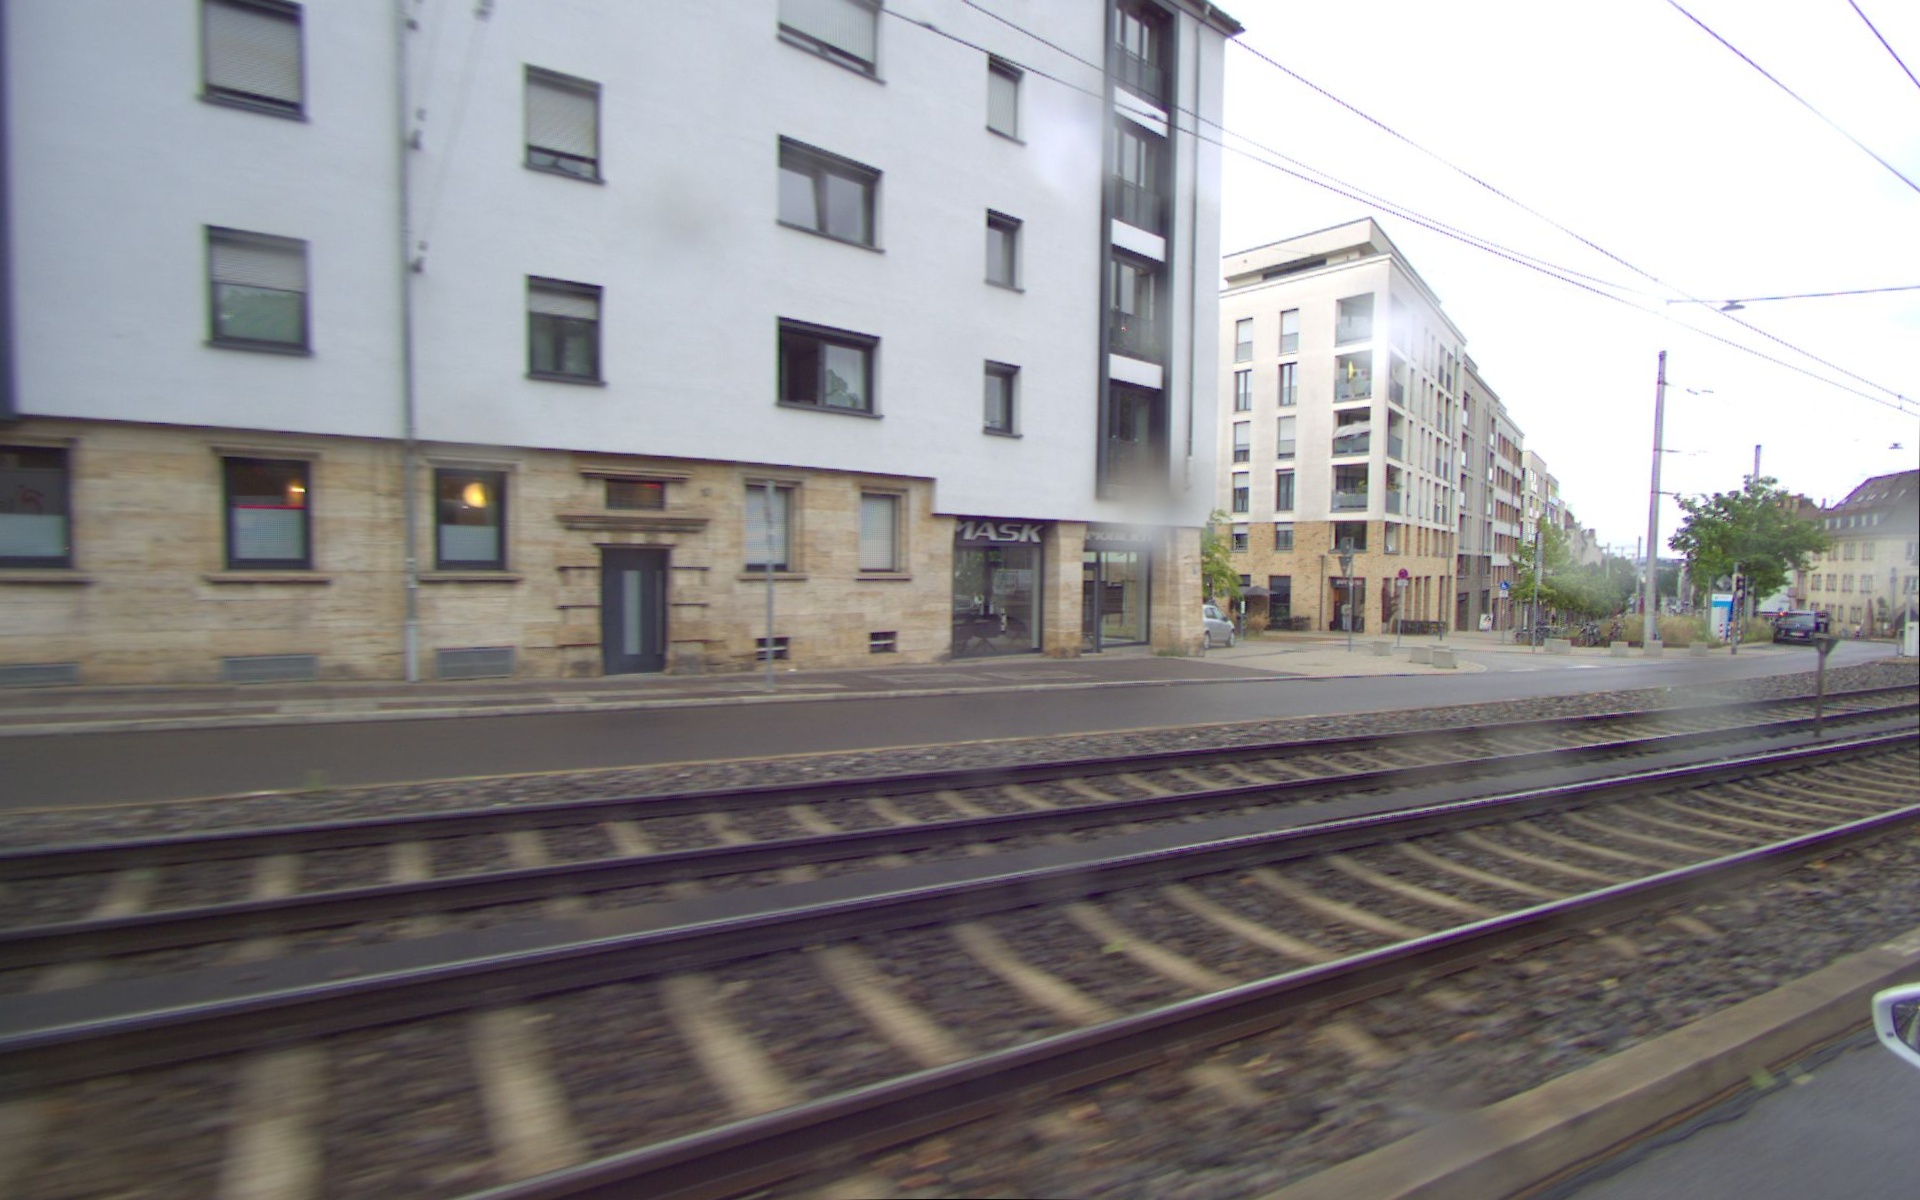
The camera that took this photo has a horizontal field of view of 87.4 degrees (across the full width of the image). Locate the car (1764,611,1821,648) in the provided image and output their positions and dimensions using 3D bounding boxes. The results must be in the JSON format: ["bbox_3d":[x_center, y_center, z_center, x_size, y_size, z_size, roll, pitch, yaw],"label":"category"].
[{"bbox_3d":[41.307,1.462,49.825,1.971,1.626,4.194,6,2,41],"label":"car"}]

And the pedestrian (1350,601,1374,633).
[{"bbox_3d":[21.724,0.906,54.276,0.890,1.674,0.837,1,0,-21],"label":"pedestrian"}]

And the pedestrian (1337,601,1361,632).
[{"bbox_3d":[20.843,0.893,53.852,0.891,1.674,0.837,1,-1,-22],"label":"pedestrian"}]

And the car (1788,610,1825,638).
[{"bbox_3d":[51.555,1.462,61.153,1.454,1.551,2.913,4,2,44],"label":"car"}]

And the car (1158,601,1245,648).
[{"bbox_3d":[8.240,0.819,34.073,1.574,1.439,3.905,2,0,34],"label":"car"}]

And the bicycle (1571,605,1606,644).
[{"bbox_3d":[27.341,1.075,43.685,2.344,1.617,0.669,2,0,-43],"label":"bicycle"}]

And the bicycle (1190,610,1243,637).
[{"bbox_3d":[10.402,0.951,40.774,1.973,1.042,0.735,1,0,22],"label":"bicycle"}]

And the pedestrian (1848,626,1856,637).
[{"bbox_3d":[106.769,3.792,120.236,0.496,1.333,0.510,2,0,24],"label":"pedestrian"}]

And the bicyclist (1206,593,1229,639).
[{"bbox_3d":[10.453,0.651,40.767,0.773,1.828,0.901,1,0,21],"label":"bicyclist"}]

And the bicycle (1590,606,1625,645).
[{"bbox_3d":[27.588,1.075,42.808,2.344,1.617,0.669,2,0,-43],"label":"bicycle"}]

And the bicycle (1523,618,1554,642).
[{"bbox_3d":[26.065,1.360,45.226,2.211,1.061,0.471,1,0,-40],"label":"bicycle"}]

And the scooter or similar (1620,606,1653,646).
[{"bbox_3d":[28.280,1.103,41.977,2.344,1.617,0.594,2,0,-43],"label":"scooter or similar"}]
